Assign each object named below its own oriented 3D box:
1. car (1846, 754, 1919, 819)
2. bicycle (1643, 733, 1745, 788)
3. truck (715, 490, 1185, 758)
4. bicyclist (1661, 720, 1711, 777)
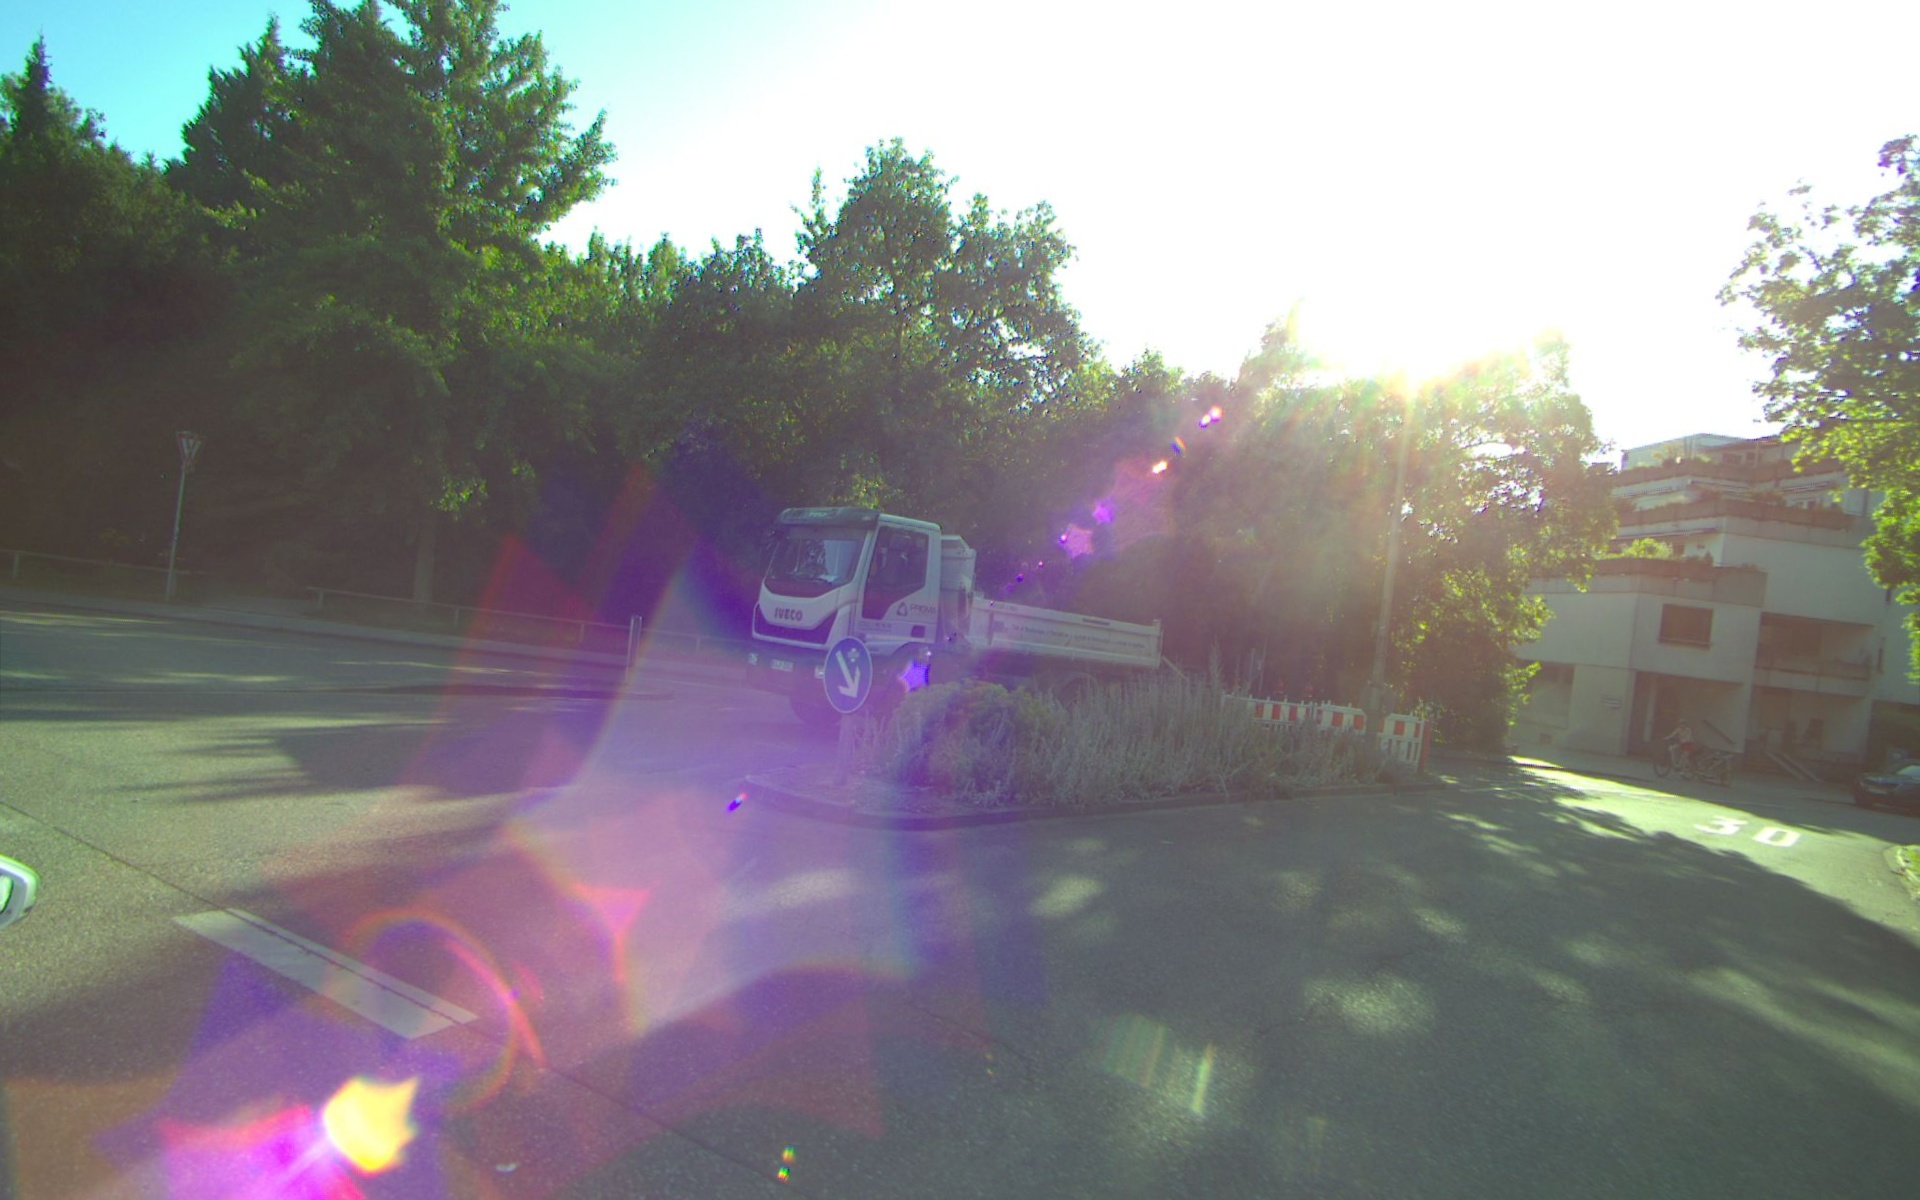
[{"bbox_3d":[28.993,5.724,30.359,3.973,1.603,1.828,8,-1,-25],"label":"car"},{"bbox_3d":[21.969,4.797,30.098,2.800,1.223,0.759,8,4,-17],"label":"bicycle"},{"bbox_3d":[0.156,0.534,14.506,6.568,2.928,2.405,9,-2,-42],"label":"truck"},{"bbox_3d":[21.607,4.406,29.938,0.634,1.505,0.756,7,4,-16],"label":"bicyclist"}]
